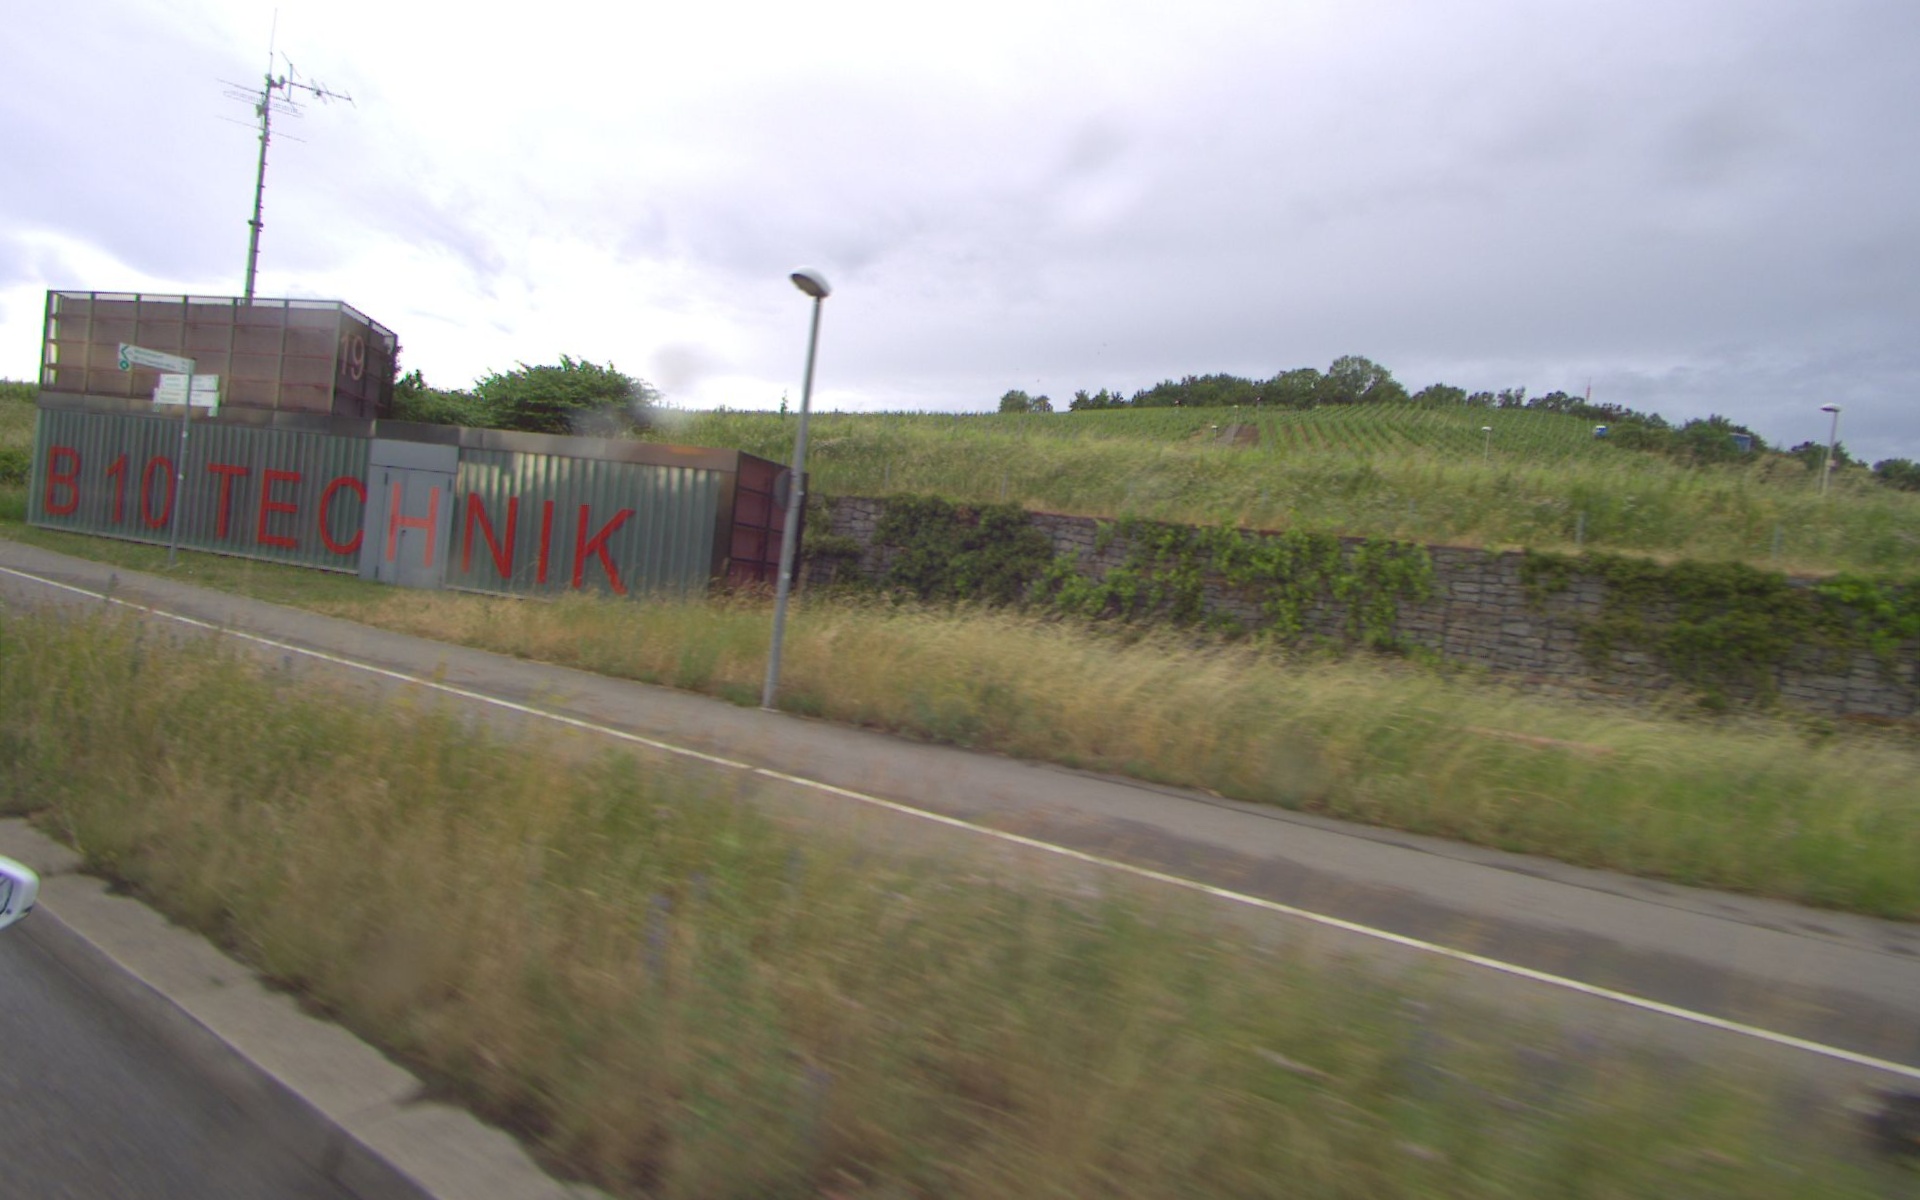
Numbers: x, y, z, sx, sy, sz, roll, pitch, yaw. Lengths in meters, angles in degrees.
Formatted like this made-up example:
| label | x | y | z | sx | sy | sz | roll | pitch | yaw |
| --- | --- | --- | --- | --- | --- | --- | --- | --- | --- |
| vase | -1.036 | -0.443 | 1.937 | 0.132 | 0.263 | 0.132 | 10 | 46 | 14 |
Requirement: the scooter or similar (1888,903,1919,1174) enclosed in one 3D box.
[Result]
| label | x | y | z | sx | sy | sz | roll | pitch | yaw |
| --- | --- | --- | --- | --- | --- | --- | --- | --- | --- |
| scooter or similar | 3.692 | 1.314 | 3.061 | 1.095 | 1.210 | 0.402 | 8 | -1 | 31 |

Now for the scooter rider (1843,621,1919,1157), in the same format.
| label | x | y | z | sx | sy | sz | roll | pitch | yaw |
| --- | --- | --- | --- | --- | --- | --- | --- | --- | --- |
| scooter rider | 3.524 | 0.928 | 3.143 | 0.814 | 1.650 | 0.806 | 8 | 3 | 31 |
